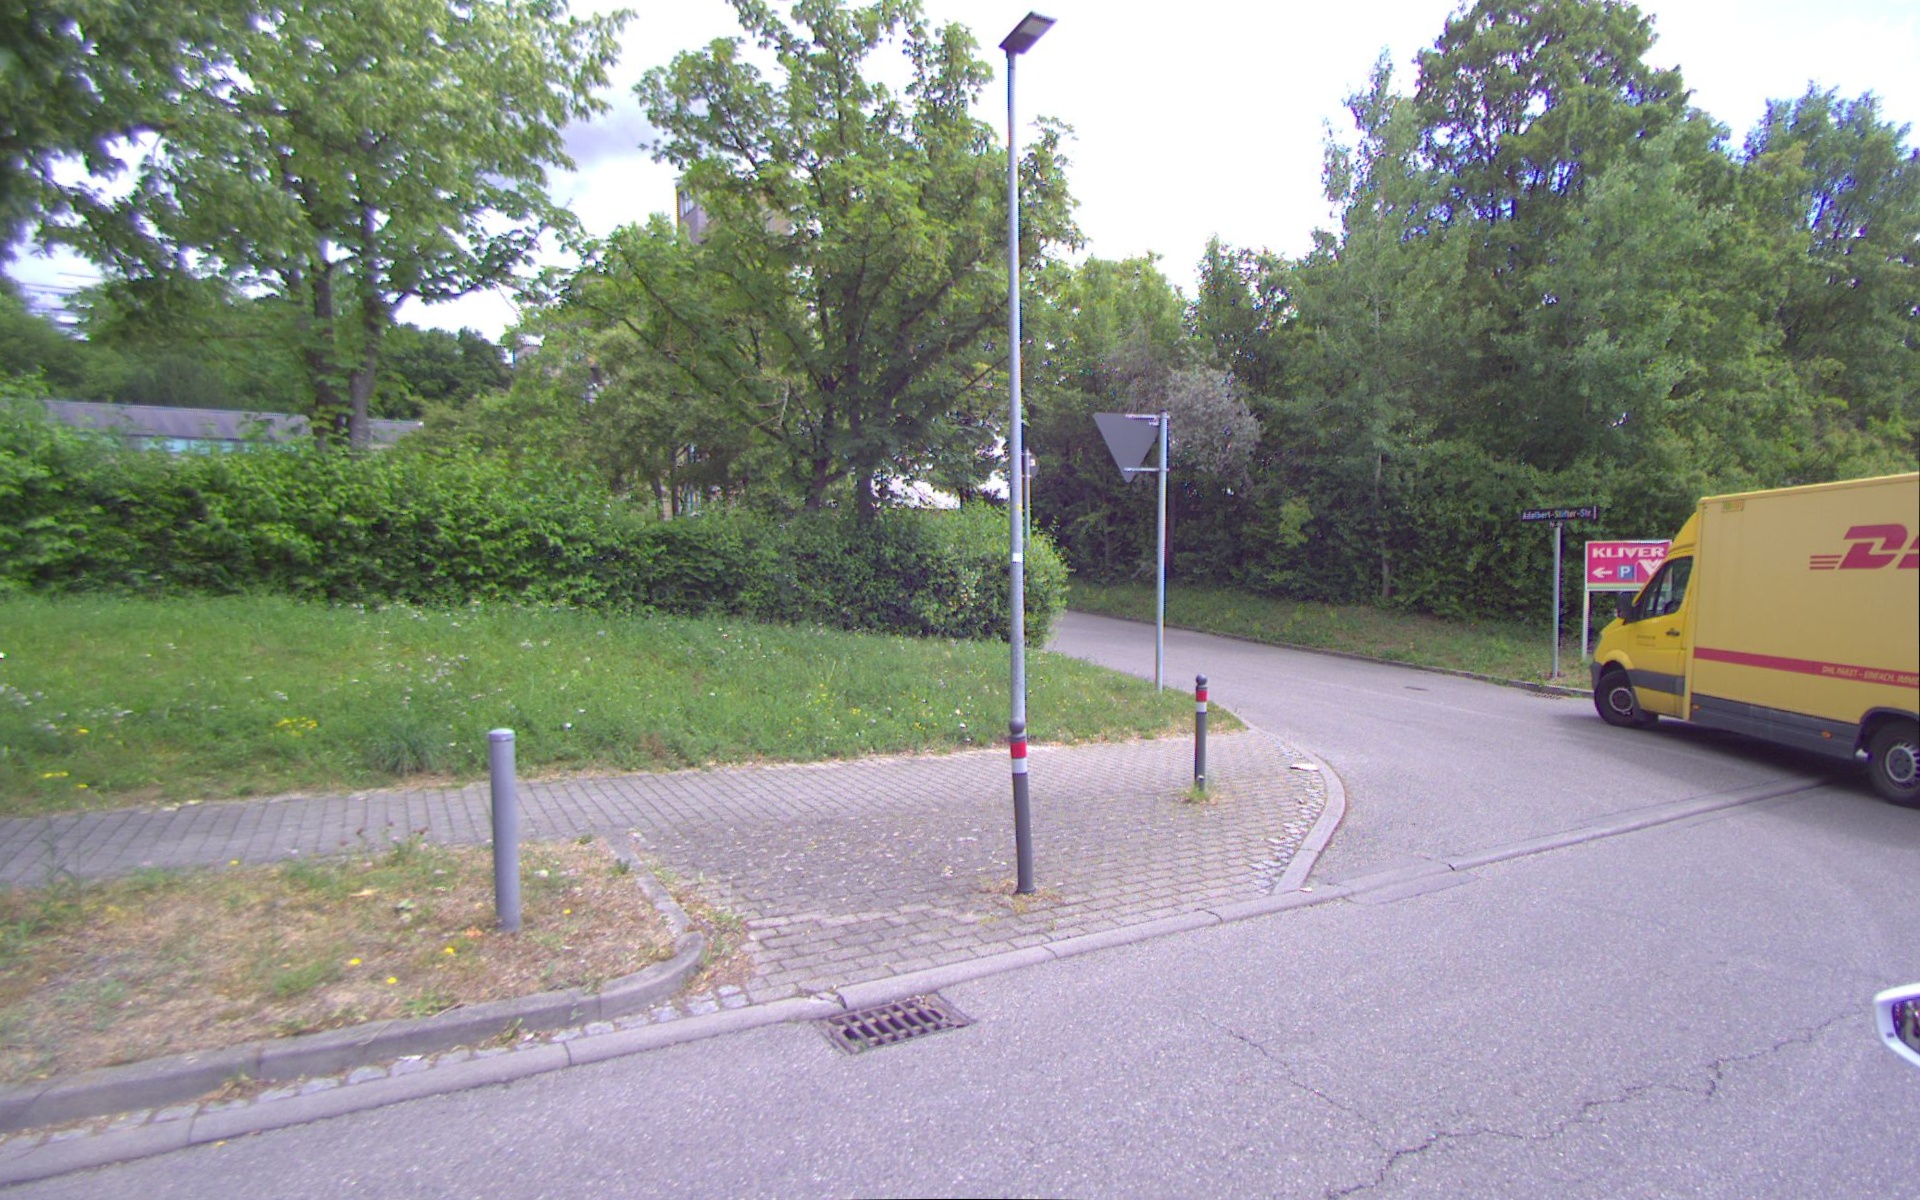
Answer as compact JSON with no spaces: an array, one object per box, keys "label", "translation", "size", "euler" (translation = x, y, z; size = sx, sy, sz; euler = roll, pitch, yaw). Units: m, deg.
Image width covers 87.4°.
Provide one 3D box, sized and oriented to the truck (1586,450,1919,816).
[{"label":"truck","translation":[8.813,0.191,9.613],"size":[2.187,2.847,6.573],"euler":[1,2,7]}]
